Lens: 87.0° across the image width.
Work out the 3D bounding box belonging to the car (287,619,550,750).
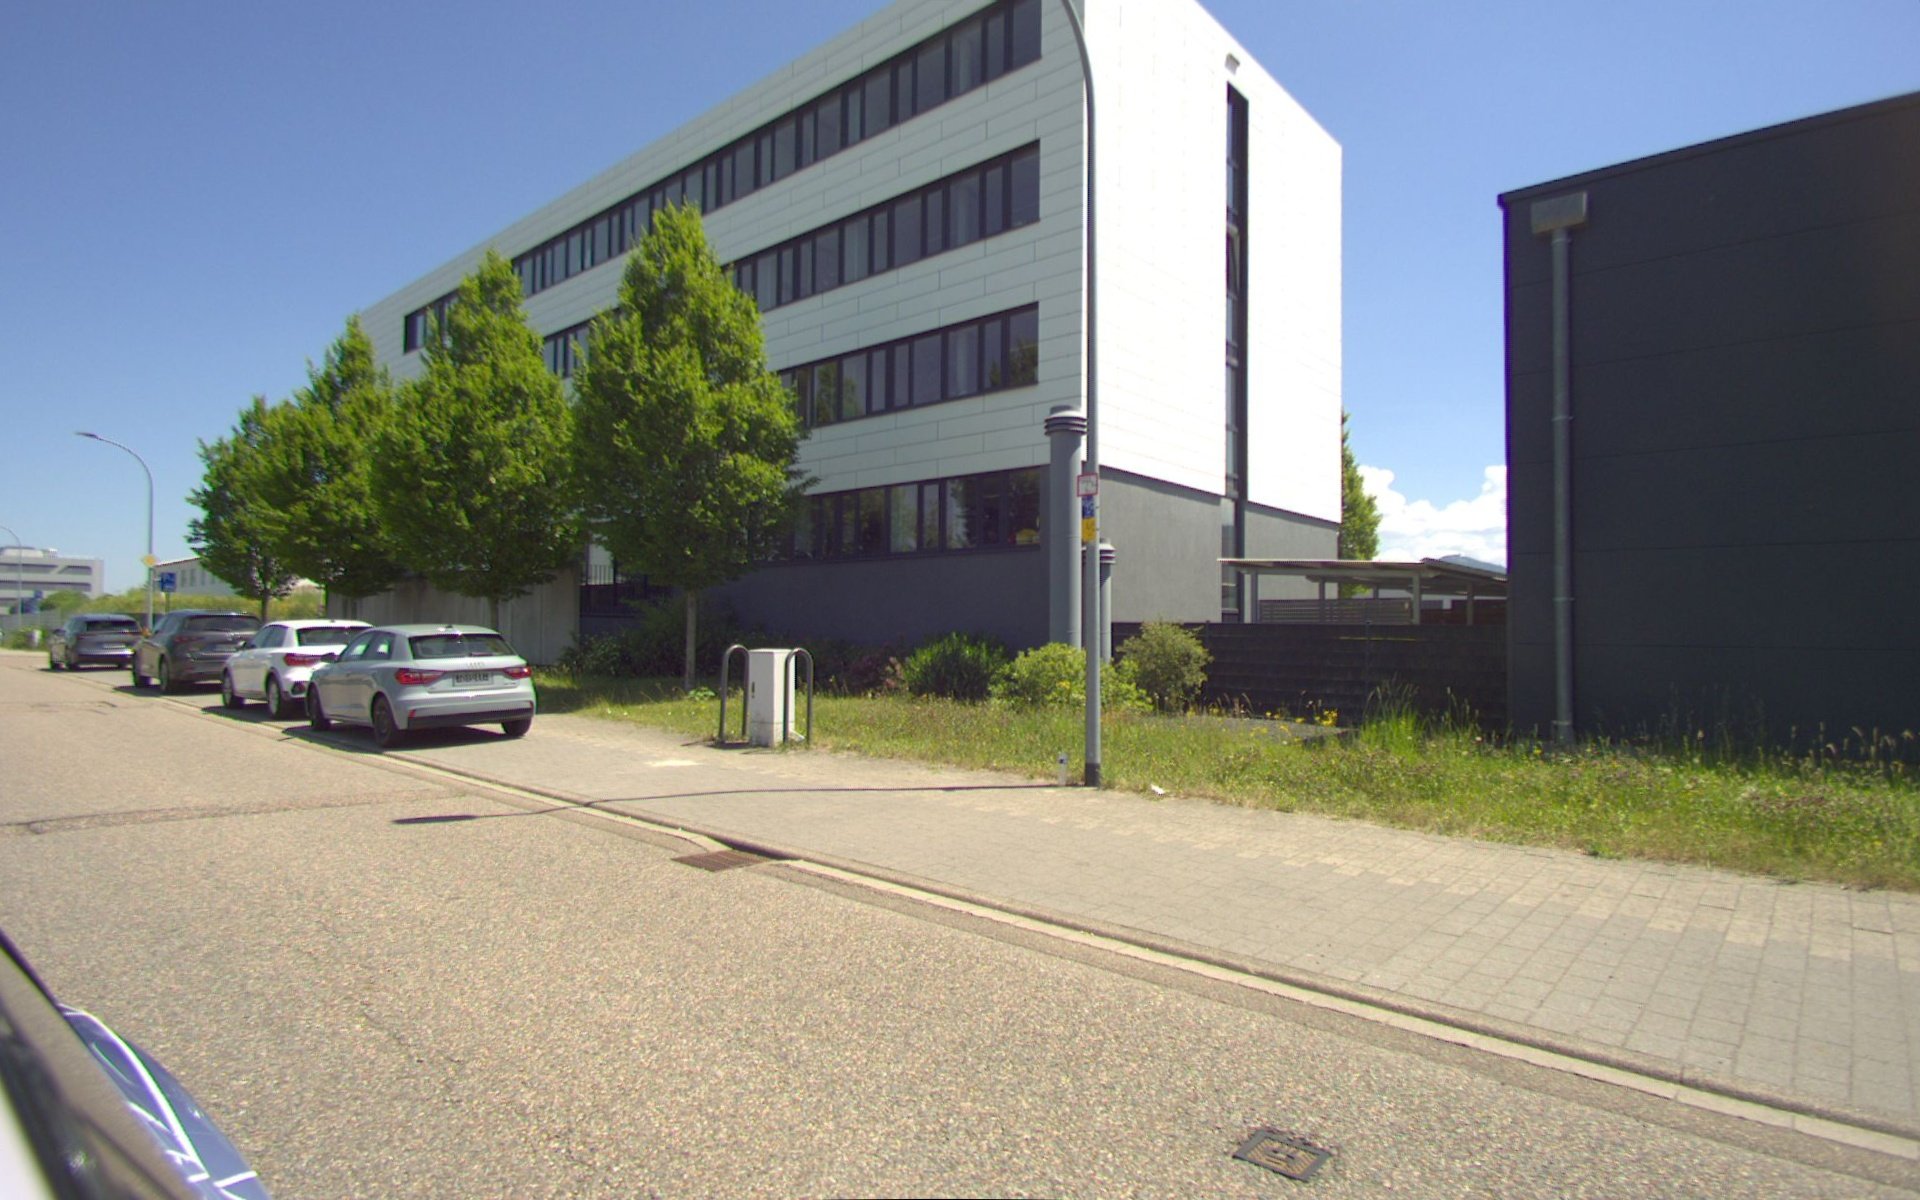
[{"bbox_3d":[-7.102,0.967,13.125,3.938,1.442,1.752,-1,-2,42],"label":"car"}]

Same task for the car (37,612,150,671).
[{"bbox_3d":[-25.504,1.202,29.741,4.477,1.600,1.753,-2,-2,40],"label":"car"}]

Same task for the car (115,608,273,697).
[{"bbox_3d":[-16.027,1.016,21.083,4.580,1.636,1.752,-1,0,42],"label":"car"}]

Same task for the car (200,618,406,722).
[{"bbox_3d":[-10.748,1.032,16.450,4.199,1.442,1.752,-1,0,42],"label":"car"}]
